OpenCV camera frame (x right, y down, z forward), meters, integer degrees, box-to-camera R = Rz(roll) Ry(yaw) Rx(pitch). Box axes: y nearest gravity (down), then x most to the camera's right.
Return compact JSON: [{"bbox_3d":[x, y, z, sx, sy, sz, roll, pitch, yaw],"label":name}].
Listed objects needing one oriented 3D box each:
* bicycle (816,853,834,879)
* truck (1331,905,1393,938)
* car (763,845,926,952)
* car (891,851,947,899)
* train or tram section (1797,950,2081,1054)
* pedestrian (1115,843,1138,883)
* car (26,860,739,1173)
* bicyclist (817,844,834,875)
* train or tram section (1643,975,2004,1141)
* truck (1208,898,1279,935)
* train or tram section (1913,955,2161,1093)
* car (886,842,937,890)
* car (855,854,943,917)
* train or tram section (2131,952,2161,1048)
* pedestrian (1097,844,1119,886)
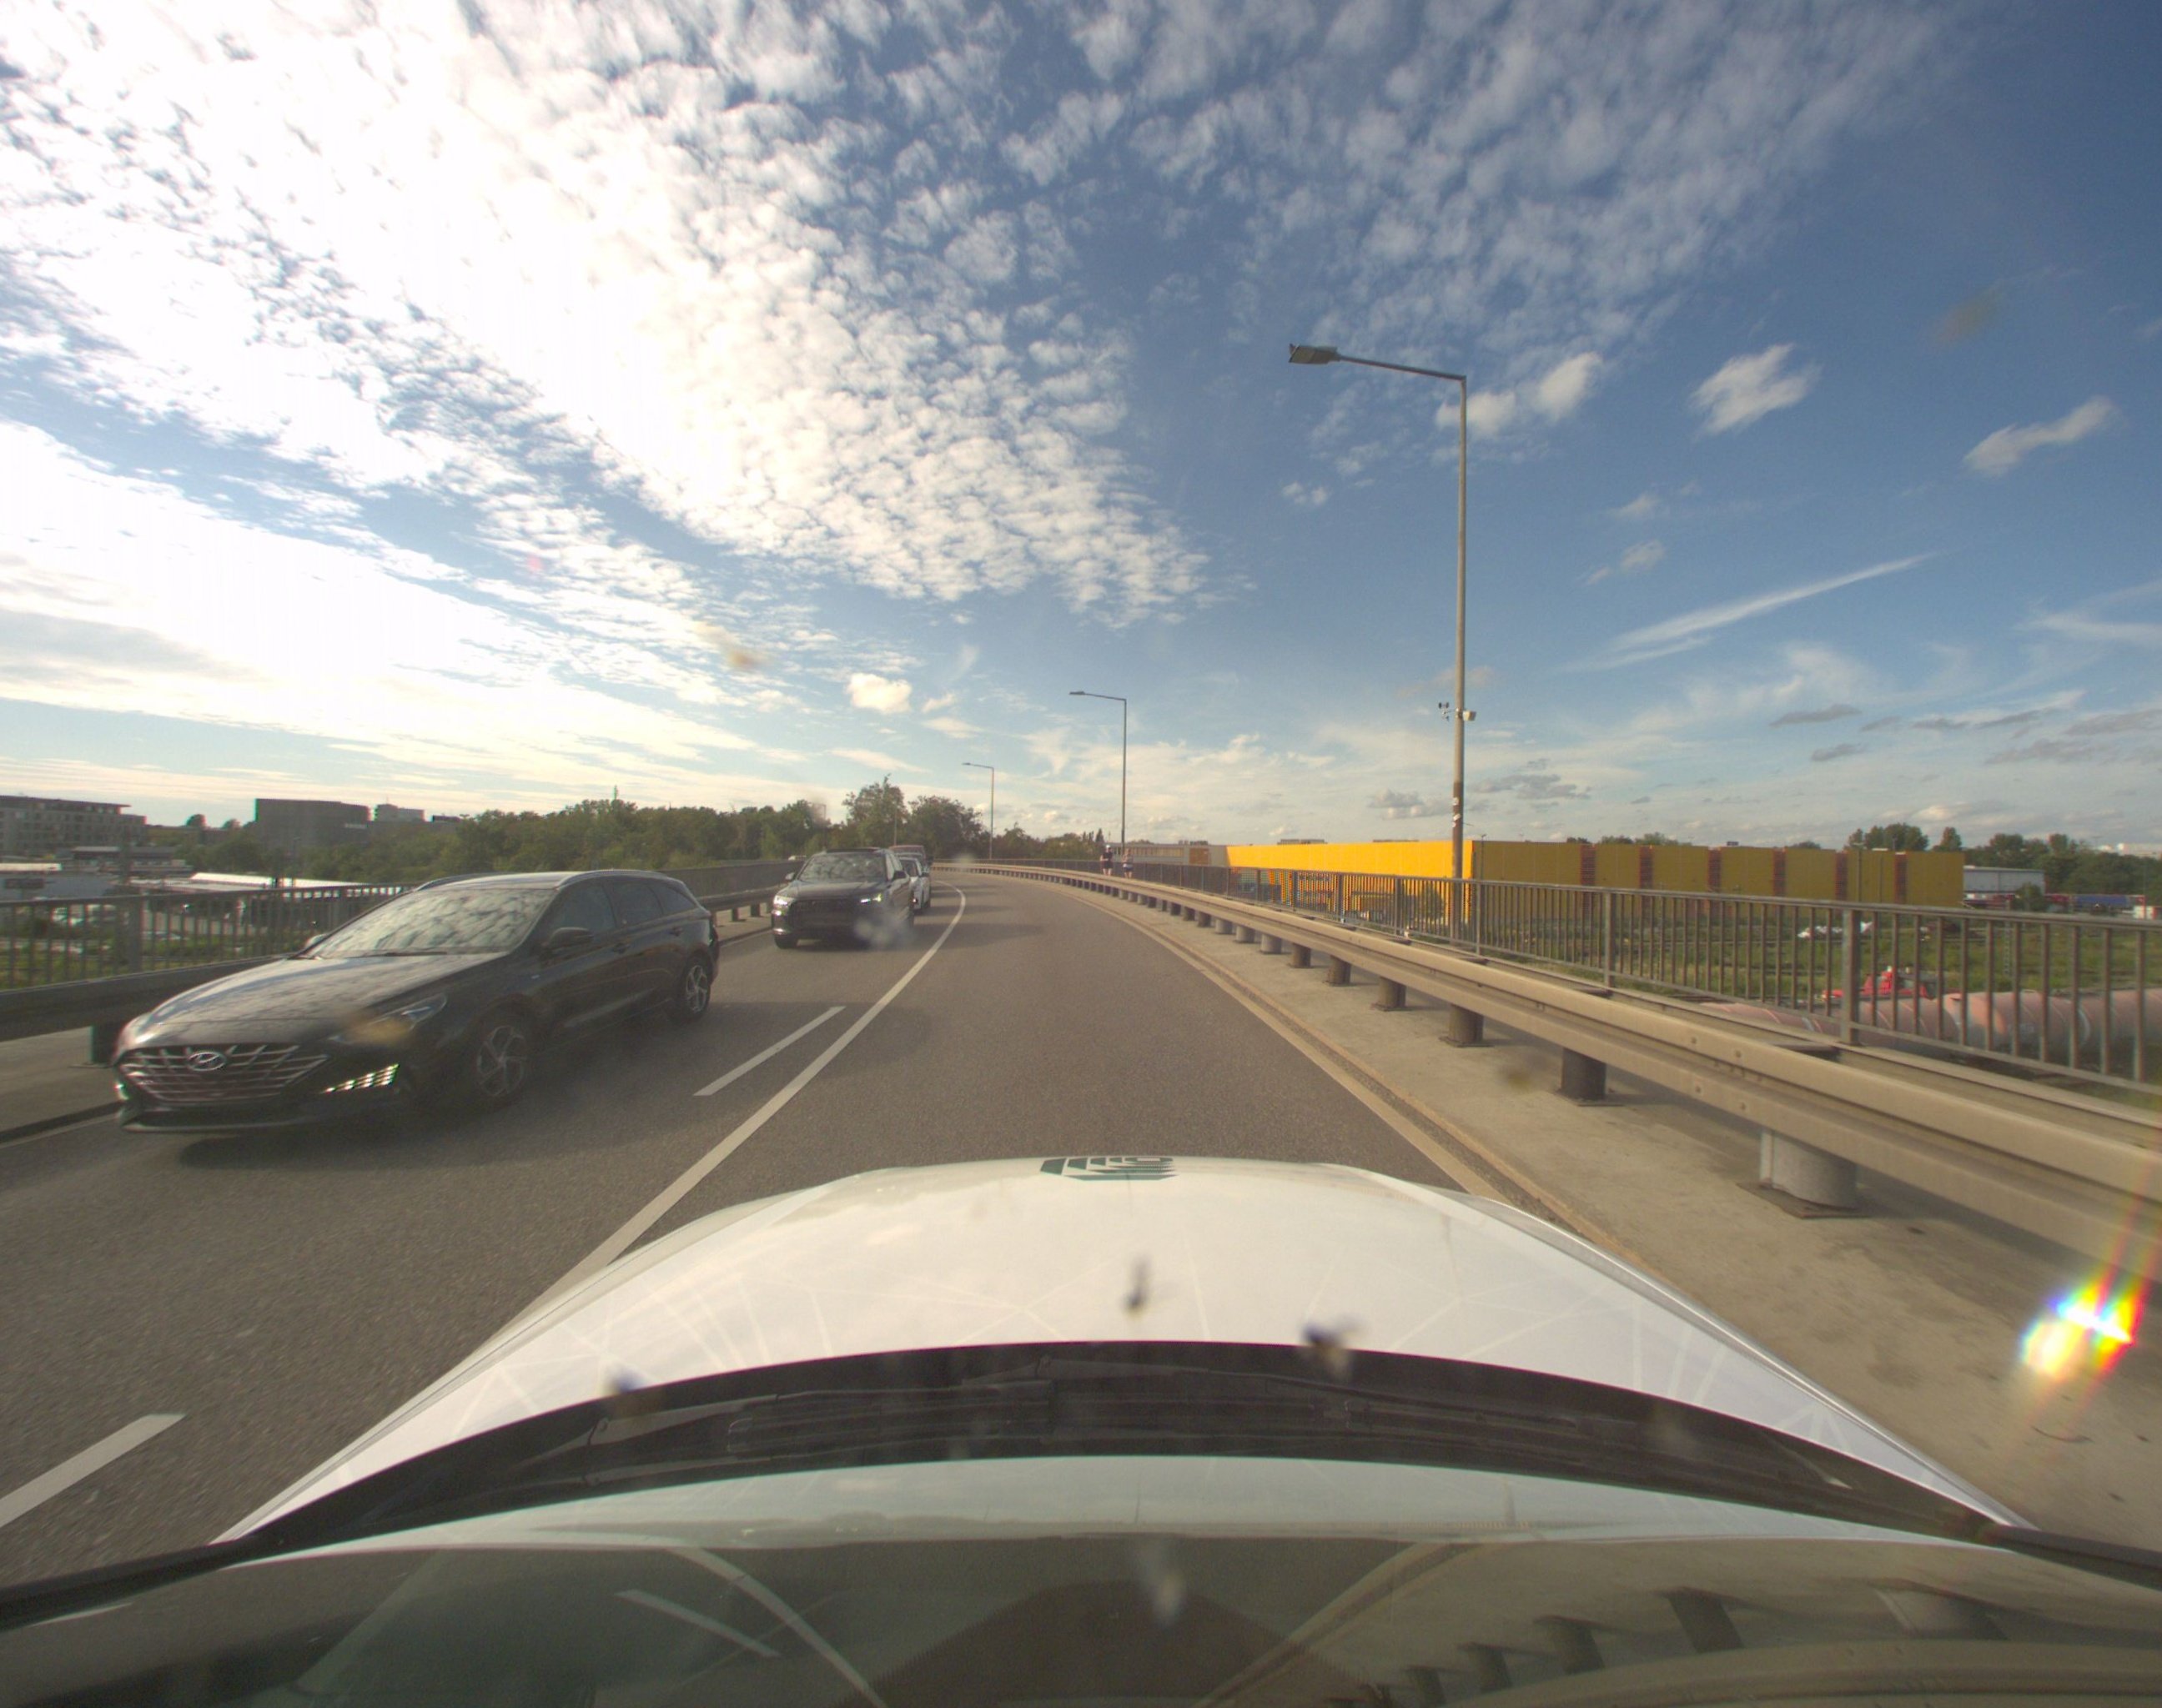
[{"bbox_3d":[-13.848,0.644,44.118,0.765,1.331,1.907,-1,0,-14],"label":"bicycle"},{"bbox_3d":[35.538,8.465,103.078,7.217,3.617,2.655,-1,1,-13],"label":"truck"},{"bbox_3d":[-4.273,0.702,15.549,1.825,1.672,4.862,-2,0,-2],"label":"car"},{"bbox_3d":[-5.910,0.712,30.051,1.752,1.609,4.301,-2,0,-8],"label":"car"},{"bbox_3d":[48.425,8.104,45.825,17.275,4.145,3.081,-1,0,-15],"label":"train or tram section"},{"bbox_3d":[1.826,0.361,32.645,0.676,1.543,0.957,-1,0,-10],"label":"pedestrian"},{"bbox_3d":[-4.510,0.849,6.405,1.754,1.489,4.444,-2,0,-1],"label":"car"},{"bbox_3d":[-13.864,0.279,44.190,0.767,1.660,1.115,-1,0,-14],"label":"bicyclist"},{"bbox_3d":[31.588,8.205,34.412,16.733,4.712,3.079,-1,0,-17],"label":"train or tram section"},{"bbox_3d":[20.913,7.990,104.627,8.600,4.090,2.655,-1,1,-13],"label":"truck"},{"bbox_3d":[47.647,7.841,39.103,16.727,4.712,3.080,-1,0,-16],"label":"train or tram section"},{"bbox_3d":[-7.539,0.494,36.210,2.009,1.903,4.847,-2,0,-12],"label":"car"},{"bbox_3d":[-4.894,0.788,22.390,1.737,1.501,4.071,-2,0,-4],"label":"car"},{"bbox_3d":[63.867,7.474,43.505,16.718,4.712,3.082,-1,0,-14],"label":"train or tram section"},{"bbox_3d":[1.065,0.429,32.267,0.676,1.661,0.863,-1,0,-8],"label":"pedestrian"}]
